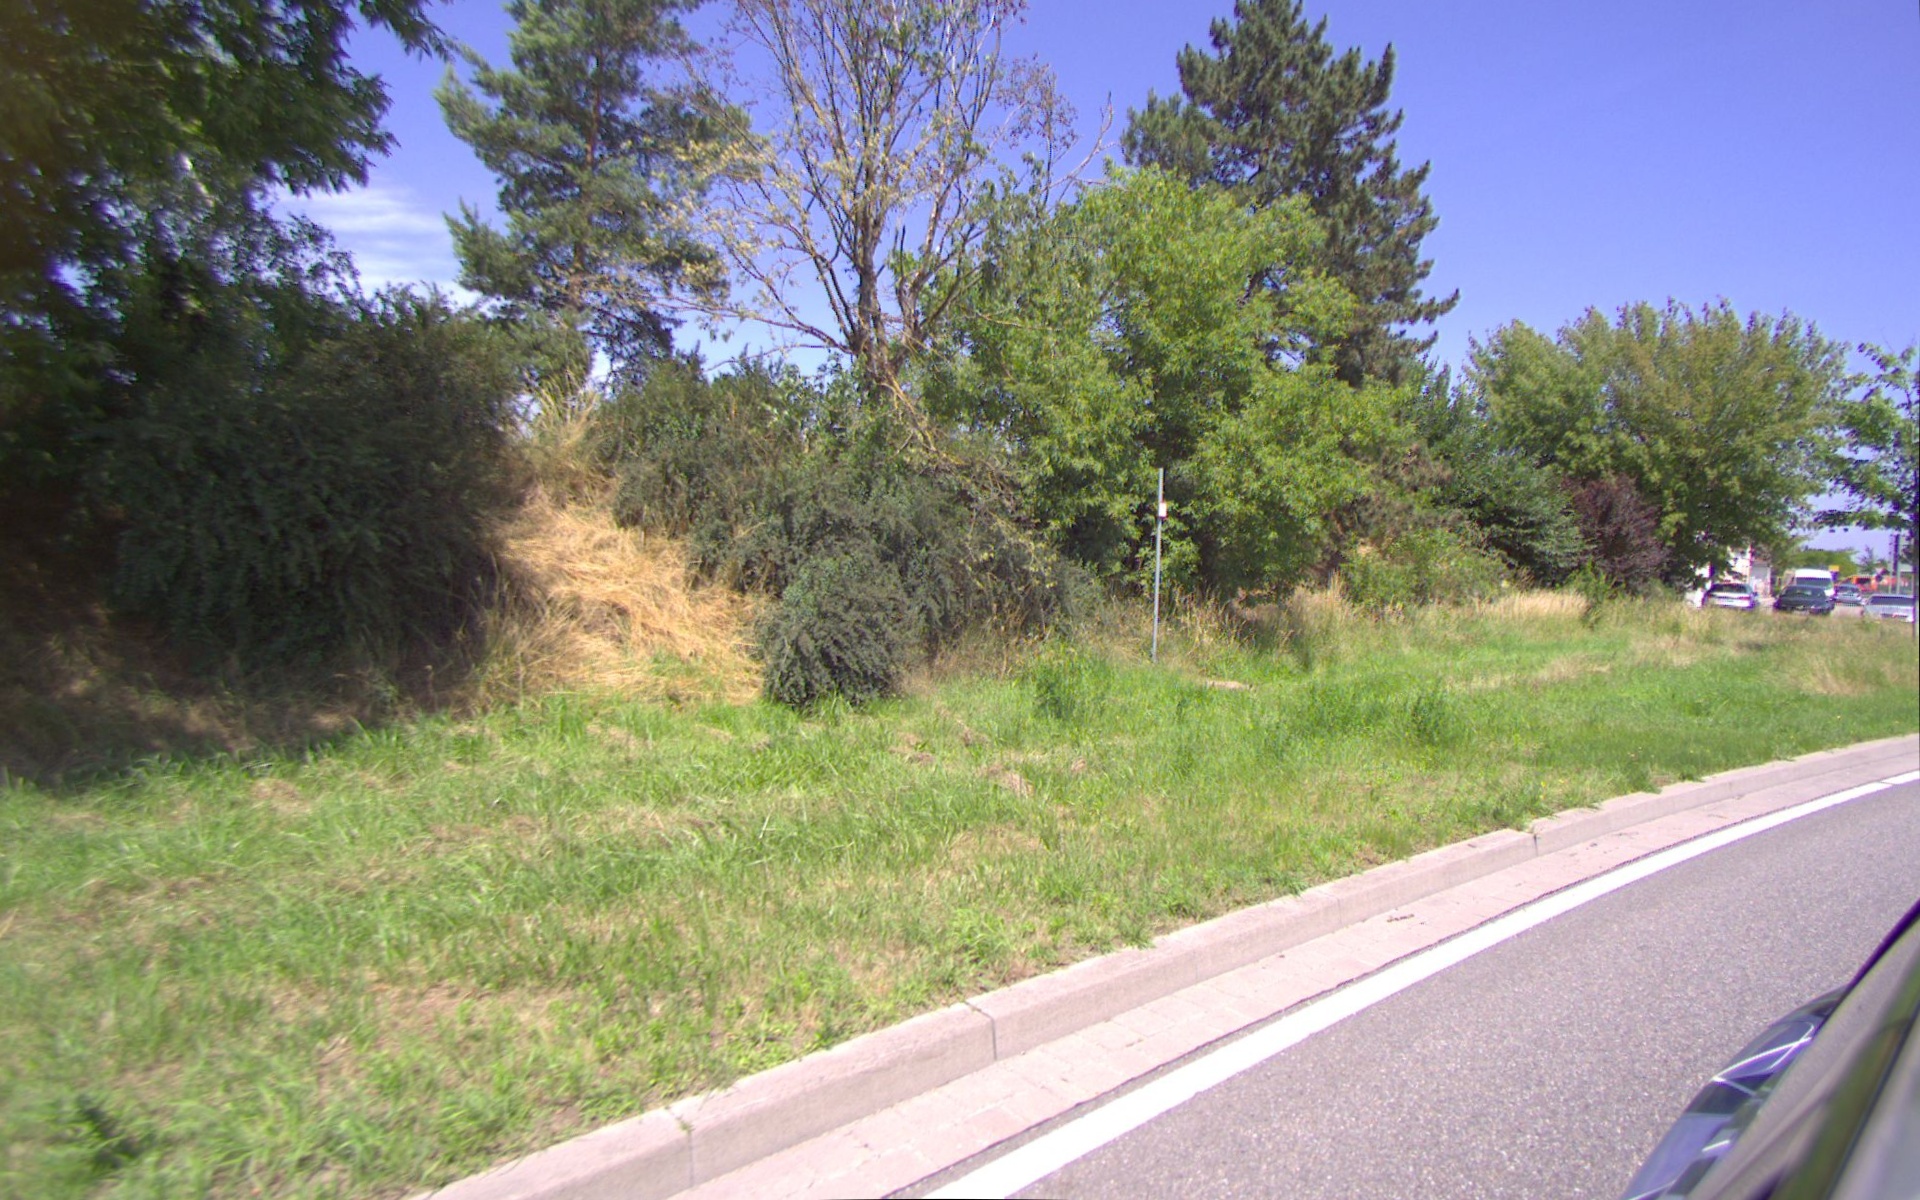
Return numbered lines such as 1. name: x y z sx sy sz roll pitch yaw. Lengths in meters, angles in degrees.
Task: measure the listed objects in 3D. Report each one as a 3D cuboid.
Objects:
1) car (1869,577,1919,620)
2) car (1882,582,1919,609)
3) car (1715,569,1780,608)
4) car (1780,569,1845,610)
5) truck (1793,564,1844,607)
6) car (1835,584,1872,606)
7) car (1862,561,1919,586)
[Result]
1. car: 35.141 -0.023 37.707 1.767 1.460 3.907 4 2 41
2. car: 52.500 -0.177 54.525 1.617 1.409 4.007 1 3 -6
3. car: 32.468 -0.443 41.686 1.768 1.460 3.906 4 2 42
4. car: 33.436 -0.399 39.648 1.768 1.460 3.906 4 2 42
5. truck: 54.160 -0.965 63.810 2.229 2.536 5.553 4 4 41
6. car: 68.666 -0.386 77.788 1.846 1.514 3.945 4 4 39
7. car: 107.907 -2.993 116.090 2.311 2.615 6.140 0 3 -35
